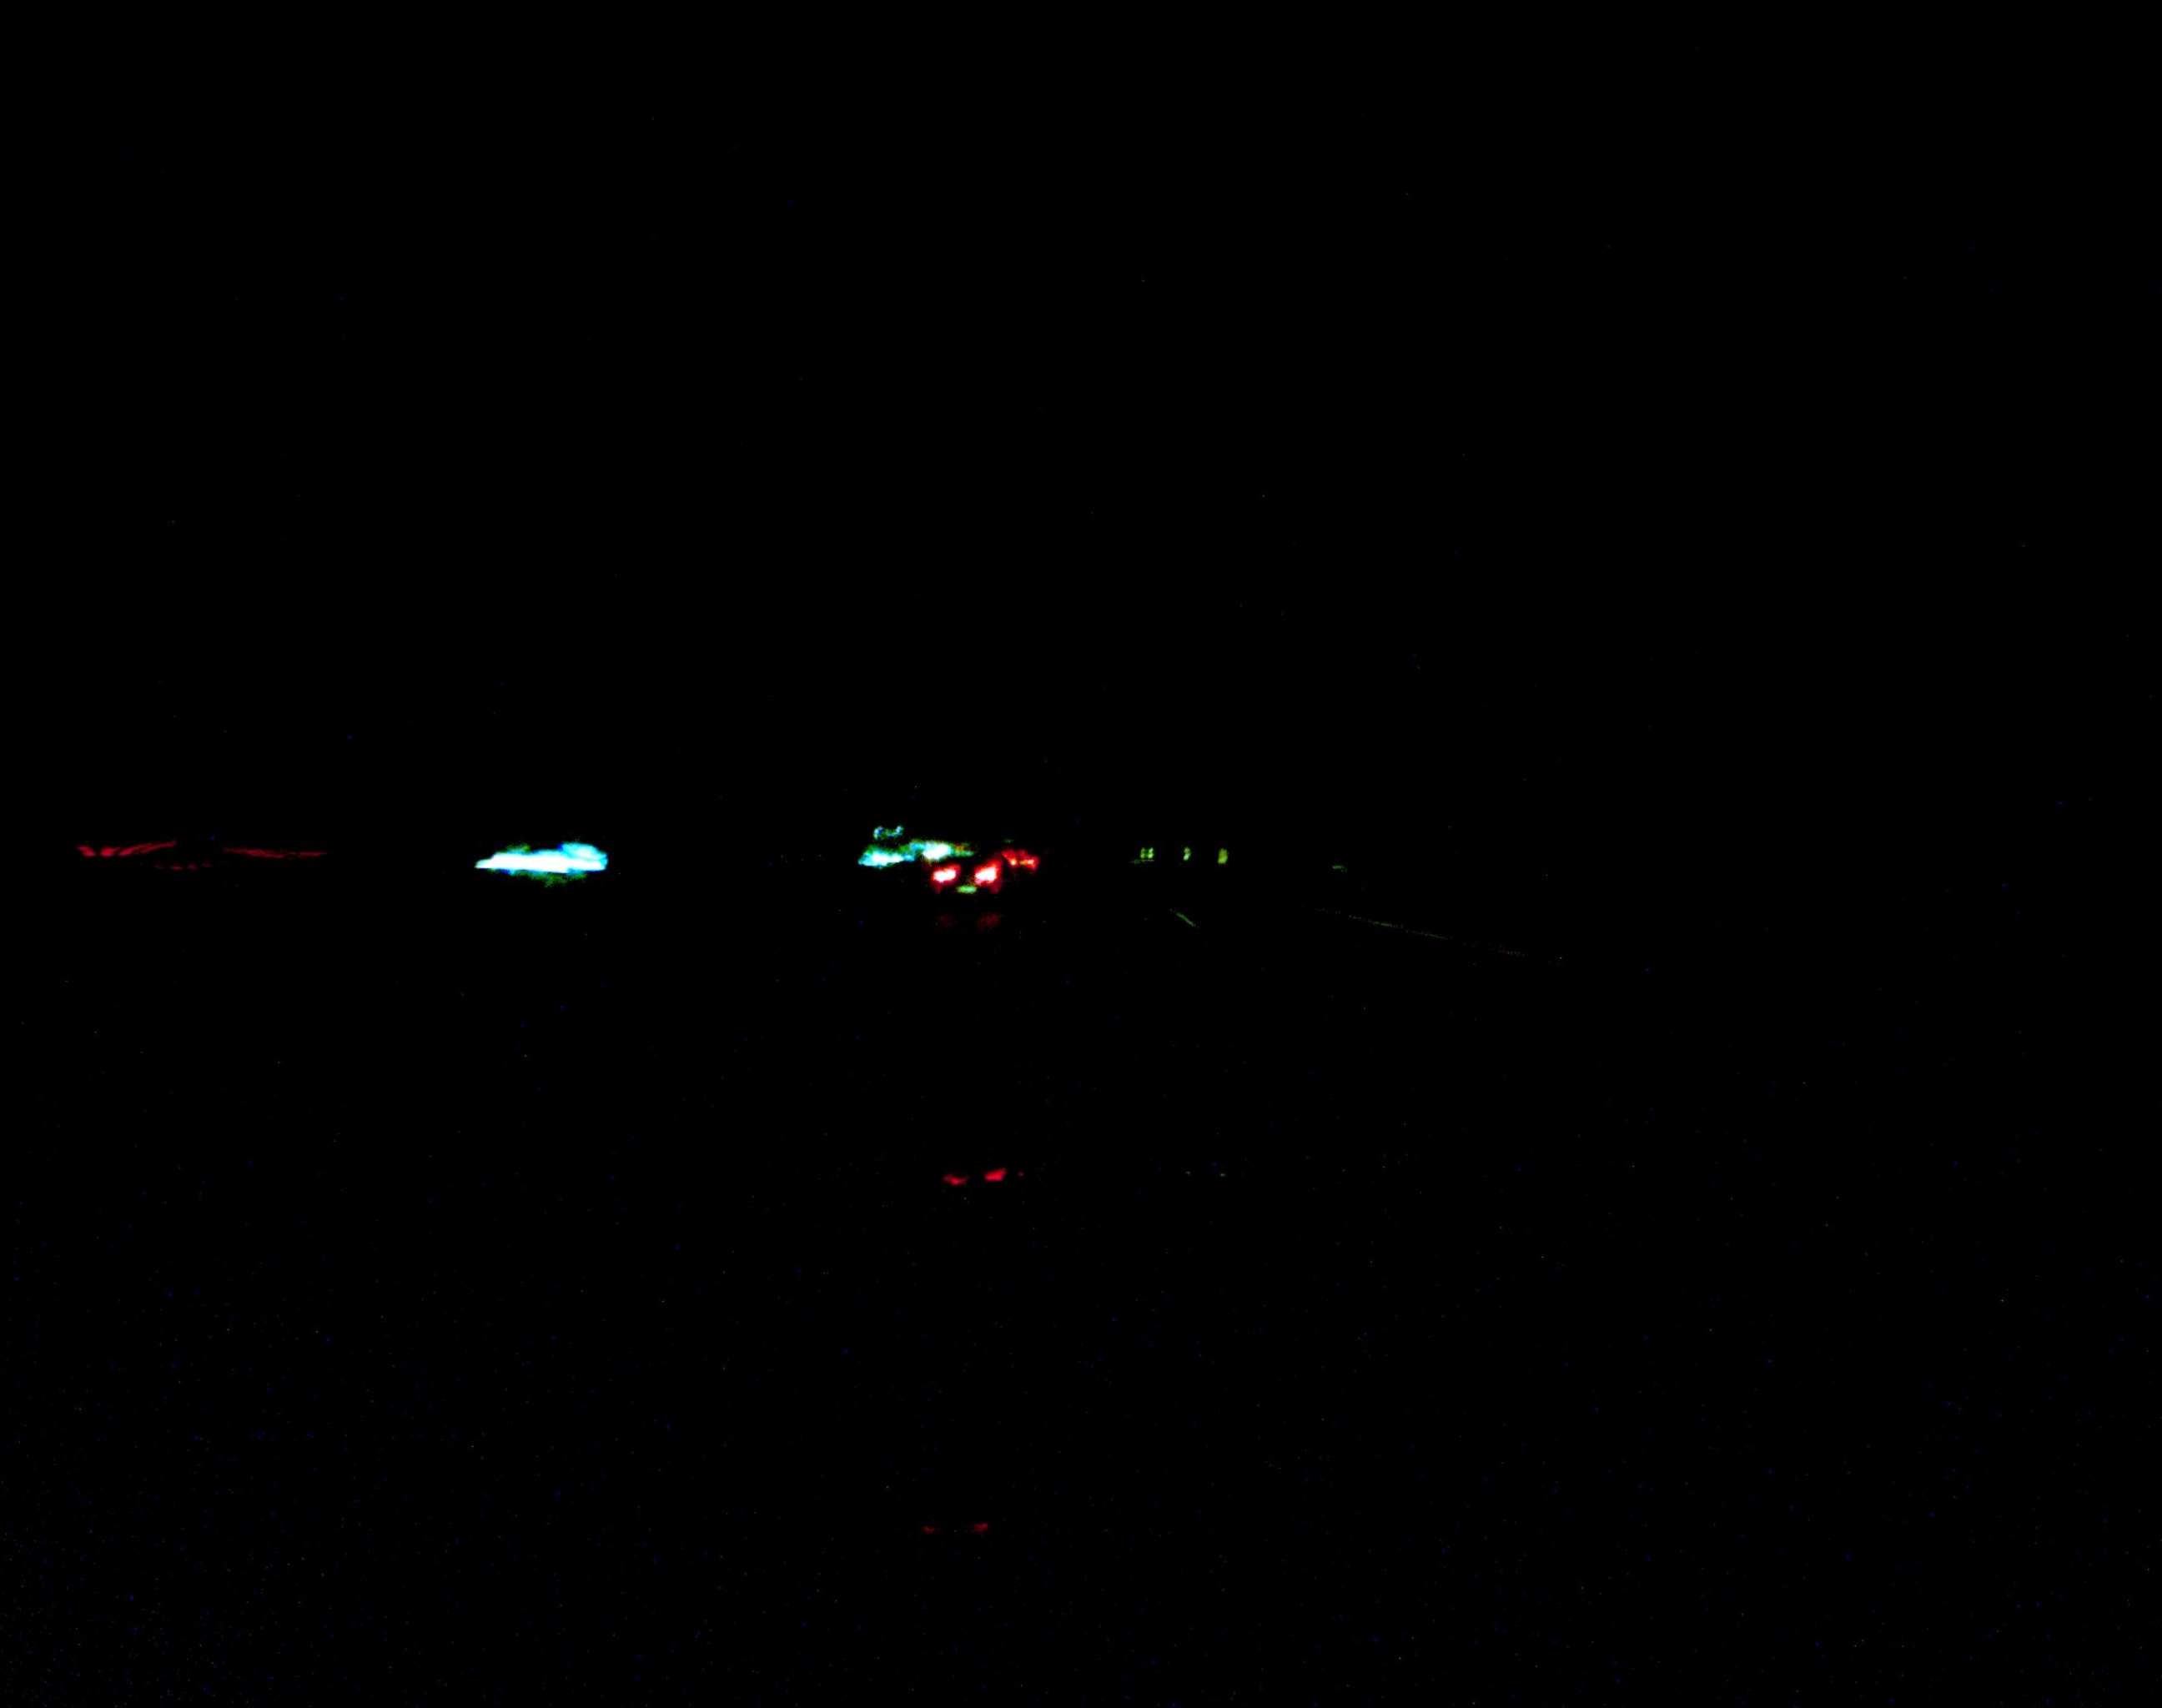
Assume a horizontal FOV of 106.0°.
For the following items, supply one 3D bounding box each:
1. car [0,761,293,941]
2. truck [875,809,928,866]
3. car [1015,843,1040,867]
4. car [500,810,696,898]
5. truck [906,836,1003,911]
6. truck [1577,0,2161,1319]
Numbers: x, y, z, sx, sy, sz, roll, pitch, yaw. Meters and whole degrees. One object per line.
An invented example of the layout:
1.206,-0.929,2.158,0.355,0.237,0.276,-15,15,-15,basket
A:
-13.064,-0.101,9.849,1.988,2.013,5.194,3,2,-1,car
-18.138,-1.750,83.182,2.517,5.311,11.792,3,2,0,truck
-4.934,0.108,75.700,1.987,2.013,4.000,3,2,-1,car
-15.394,-0.091,26.597,2.413,2.397,6.421,3,2,0,car
-4.019,0.579,27.080,2.138,2.077,6.601,-3,0,0,truck
4.560,-0.755,2.730,2.699,4.241,5.297,-1,0,3,truck
